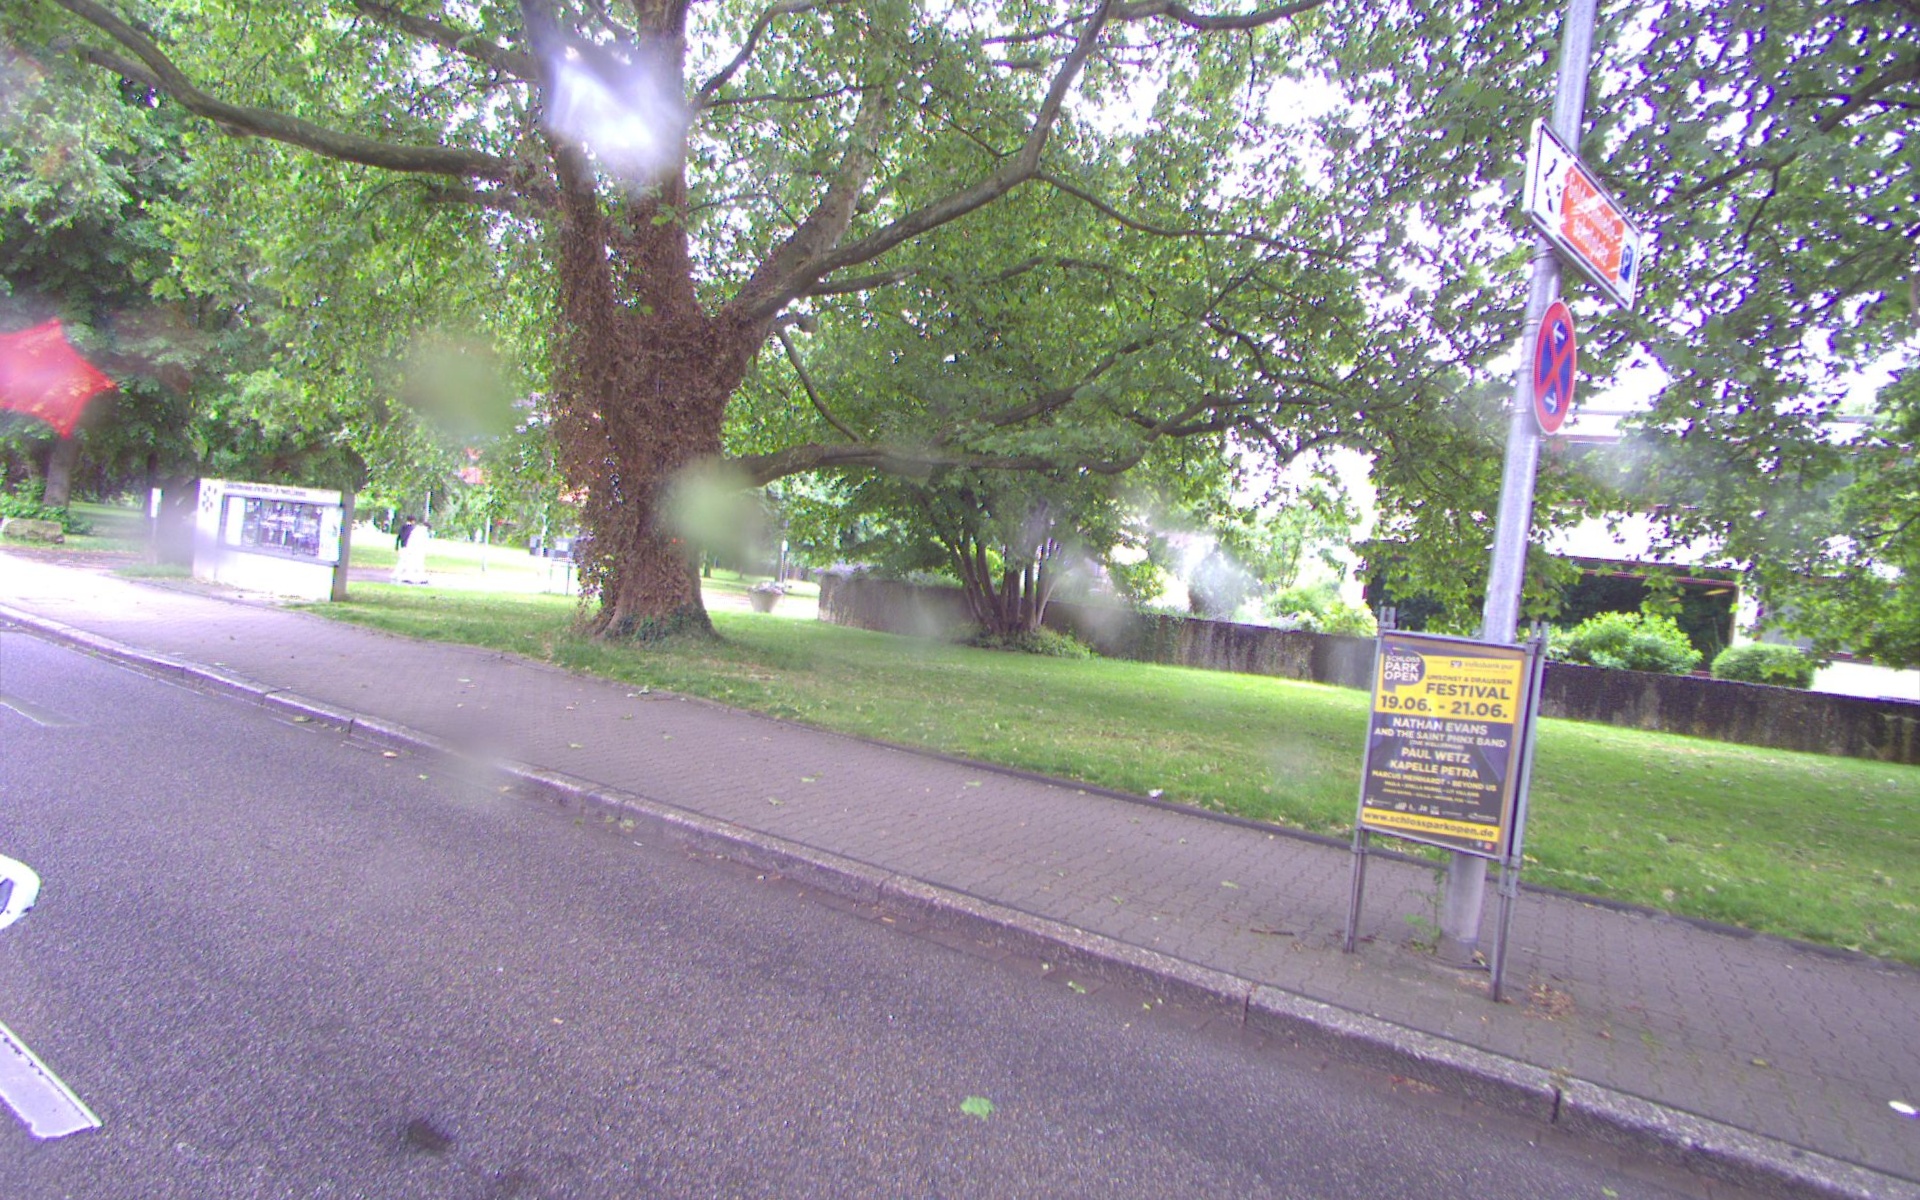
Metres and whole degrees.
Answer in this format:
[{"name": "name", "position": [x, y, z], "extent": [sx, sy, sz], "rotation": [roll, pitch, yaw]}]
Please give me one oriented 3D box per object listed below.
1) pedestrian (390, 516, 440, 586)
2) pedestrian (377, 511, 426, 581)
[{"name": "pedestrian", "position": [-14.574, -1.312, 26.905], "extent": [0.776, 1.732, 0.666], "rotation": [7, -1, 23]}, {"name": "pedestrian", "position": [-15.237, -1.462, 27.451], "extent": [0.711, 1.776, 0.666], "rotation": [7, -1, 23]}]
